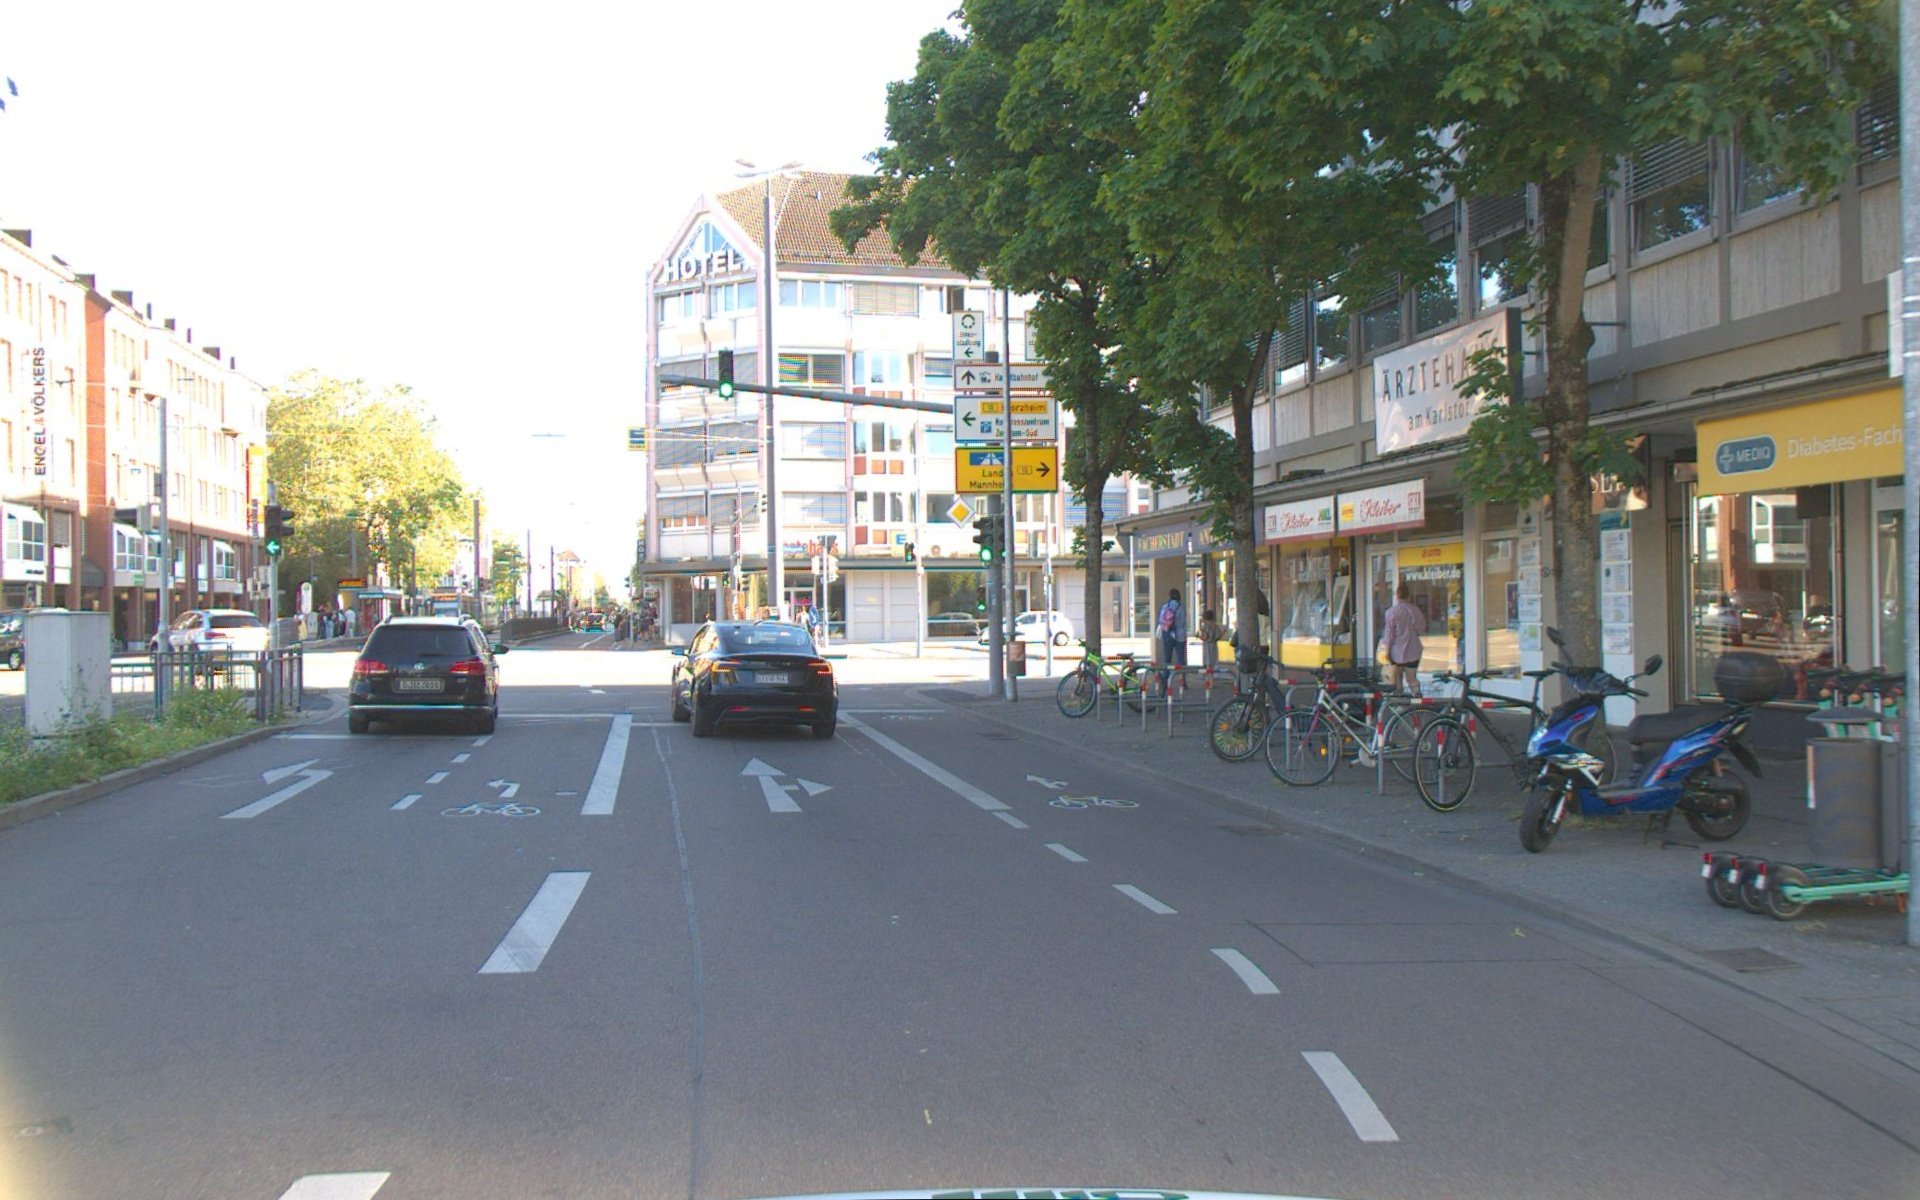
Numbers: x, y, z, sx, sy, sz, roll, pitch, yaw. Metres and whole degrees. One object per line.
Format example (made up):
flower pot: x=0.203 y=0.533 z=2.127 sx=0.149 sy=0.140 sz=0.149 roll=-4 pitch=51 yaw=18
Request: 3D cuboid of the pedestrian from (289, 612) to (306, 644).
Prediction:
pedestrian: x=-33.001 y=1.387 z=82.394 sx=0.622 sy=1.591 sz=0.586 roll=-1 pitch=-1 yaw=6

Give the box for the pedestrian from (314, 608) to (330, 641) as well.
pedestrian: x=-34.665 y=1.336 z=89.850 sx=0.571 sy=1.751 sz=0.638 roll=-1 pitch=-1 yaw=18

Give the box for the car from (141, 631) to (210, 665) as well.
car: x=-37.971 y=2.283 z=80.167 sx=1.783 sy=1.479 sz=3.971 roll=-3 pitch=0 yaw=-7

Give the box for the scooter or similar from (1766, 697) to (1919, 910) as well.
scooter or similar: x=4.689 y=1.047 z=8.600 sx=0.938 sy=1.057 sz=0.159 roll=-1 pitch=0 yaw=-6

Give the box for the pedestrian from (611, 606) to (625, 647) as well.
pedestrian: x=-15.242 y=1.174 z=73.734 sx=0.615 sy=1.813 sz=0.915 roll=0 pitch=-1 yaw=-11

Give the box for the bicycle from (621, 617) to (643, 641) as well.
bicycle: x=-16.068 y=1.429 z=81.040 sx=0.483 sy=1.181 sz=1.955 roll=0 pitch=-1 yaw=-28

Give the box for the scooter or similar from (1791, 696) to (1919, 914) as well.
scooter or similar: x=4.710 y=1.025 z=8.371 sx=0.945 sy=1.061 sz=0.159 roll=-1 pitch=0 yaw=-6

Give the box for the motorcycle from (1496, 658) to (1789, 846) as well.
motorcycle: x=4.443 y=0.970 z=10.792 sx=1.754 sy=1.149 sz=0.503 roll=0 pitch=-1 yaw=-9

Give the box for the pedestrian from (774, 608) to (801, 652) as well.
pedestrian: x=-6.508 y=1.116 z=62.340 sx=0.769 sy=1.604 sz=0.861 roll=0 pitch=1 yaw=-24

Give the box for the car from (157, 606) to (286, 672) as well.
car: x=-19.360 y=0.998 z=43.307 sx=3.422 sy=1.663 sz=1.835 roll=-1 pitch=-1 yaw=41

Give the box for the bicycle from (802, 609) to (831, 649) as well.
bicycle: x=-5.445 y=1.088 z=62.873 sx=0.575 sy=1.489 sz=1.673 roll=-1 pitch=0 yaw=-24

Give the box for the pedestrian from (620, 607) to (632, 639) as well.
pedestrian: x=-16.944 y=1.172 z=83.960 sx=0.466 sy=1.590 sz=0.539 roll=0 pitch=-1 yaw=-31

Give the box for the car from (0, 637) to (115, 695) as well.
car: x=-27.080 y=1.945 z=49.530 sx=3.704 sy=1.646 sz=1.573 roll=-1 pitch=-1 yaw=33

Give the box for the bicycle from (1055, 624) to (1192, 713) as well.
bicycle: x=2.344 y=0.973 z=23.800 sx=1.855 sy=1.177 sz=0.479 roll=-3 pitch=-1 yaw=-9

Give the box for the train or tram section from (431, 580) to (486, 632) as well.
train or tram section: x=-36.014 y=0.457 z=118.975 sx=2.680 sy=3.604 sz=10.059 roll=0 pitch=-1 yaw=-11

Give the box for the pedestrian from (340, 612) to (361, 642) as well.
pedestrian: x=-34.950 y=1.545 z=94.897 sx=1.088 sy=1.653 sz=0.843 roll=0 pitch=-1 yaw=-20

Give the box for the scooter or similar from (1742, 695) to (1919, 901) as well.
scooter or similar: x=4.663 y=1.044 z=8.799 sx=0.945 sy=1.045 sz=0.159 roll=-1 pitch=0 yaw=-6

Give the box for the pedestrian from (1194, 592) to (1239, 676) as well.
pedestrian: x=4.517 y=0.596 z=29.182 sx=0.632 sy=1.447 sz=0.620 roll=0 pitch=-1 yaw=-8

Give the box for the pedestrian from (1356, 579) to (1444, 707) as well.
pedestrian: x=5.757 y=0.553 z=21.673 sx=0.827 sy=1.630 sz=0.878 roll=0 pitch=-1 yaw=-9

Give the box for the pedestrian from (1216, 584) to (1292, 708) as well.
pedestrian: x=4.212 y=0.645 z=23.743 sx=0.827 sy=1.737 sz=0.878 roll=0 pitch=-1 yaw=-9

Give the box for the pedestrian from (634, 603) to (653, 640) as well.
pedestrian: x=-15.611 y=1.046 z=81.562 sx=0.898 sy=1.785 sz=0.837 roll=0 pitch=-1 yaw=-10

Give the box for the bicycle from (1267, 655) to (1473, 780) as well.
bicycle: x=3.669 y=1.044 z=14.836 sx=1.732 sy=1.075 sz=0.457 roll=-1 pitch=-1 yaw=-4

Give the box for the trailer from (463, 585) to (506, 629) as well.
trailer: x=-39.737 y=0.623 z=138.434 sx=2.665 sy=3.608 sz=9.332 roll=0 pitch=-1 yaw=-11

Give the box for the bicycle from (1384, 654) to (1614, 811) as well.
bicycle: x=4.211 y=1.011 z=12.891 sx=1.823 sy=1.074 sz=0.397 roll=-2 pitch=0 yaw=-20

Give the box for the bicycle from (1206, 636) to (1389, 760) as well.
bicycle: x=3.416 y=0.976 z=16.766 sx=1.778 sy=1.172 sz=0.434 roll=-1 pitch=-1 yaw=-13

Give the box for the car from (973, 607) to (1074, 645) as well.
car: x=2.608 y=1.085 z=68.181 sx=3.776 sy=1.457 sz=1.797 roll=-1 pitch=-2 yaw=-14

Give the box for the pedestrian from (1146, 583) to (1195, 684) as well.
pedestrian: x=3.702 y=0.590 z=29.177 sx=0.825 sy=1.751 sz=0.880 roll=-1 pitch=-1 yaw=7

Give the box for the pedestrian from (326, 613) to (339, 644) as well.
pedestrian: x=-32.485 y=1.482 z=85.640 sx=0.576 sy=1.558 sz=0.632 roll=0 pitch=-1 yaw=-26

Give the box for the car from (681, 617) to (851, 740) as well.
car: x=-2.662 y=0.972 z=21.988 sx=1.760 sy=1.476 sz=3.925 roll=1 pitch=-1 yaw=-14

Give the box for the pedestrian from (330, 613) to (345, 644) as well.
pedestrian: x=-34.802 y=1.581 z=92.508 sx=0.623 sy=1.751 sz=0.585 roll=0 pitch=-1 yaw=-3

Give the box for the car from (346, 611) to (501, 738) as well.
car: x=-7.087 y=0.901 z=21.878 sx=1.737 sy=1.469 sz=4.505 roll=1 pitch=0 yaw=-18
